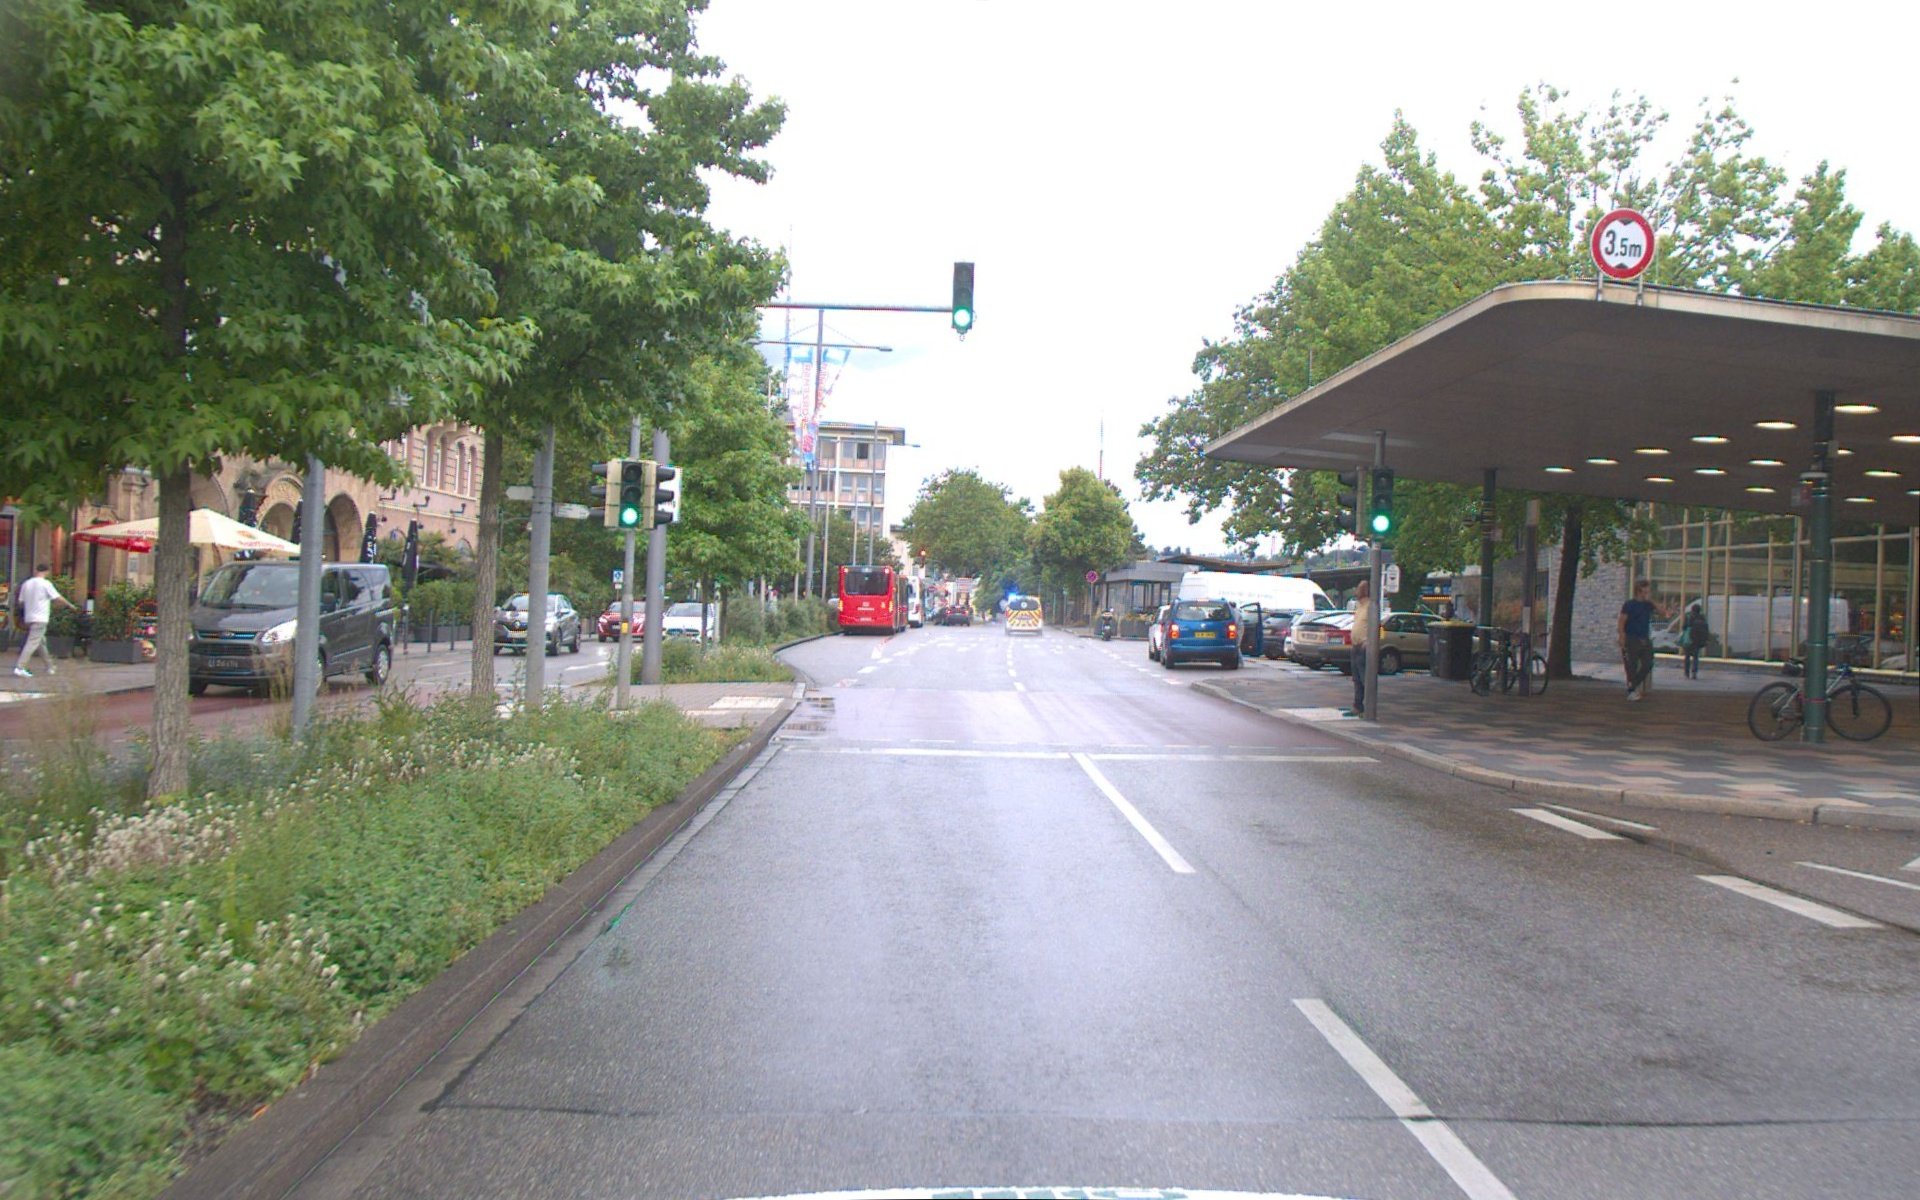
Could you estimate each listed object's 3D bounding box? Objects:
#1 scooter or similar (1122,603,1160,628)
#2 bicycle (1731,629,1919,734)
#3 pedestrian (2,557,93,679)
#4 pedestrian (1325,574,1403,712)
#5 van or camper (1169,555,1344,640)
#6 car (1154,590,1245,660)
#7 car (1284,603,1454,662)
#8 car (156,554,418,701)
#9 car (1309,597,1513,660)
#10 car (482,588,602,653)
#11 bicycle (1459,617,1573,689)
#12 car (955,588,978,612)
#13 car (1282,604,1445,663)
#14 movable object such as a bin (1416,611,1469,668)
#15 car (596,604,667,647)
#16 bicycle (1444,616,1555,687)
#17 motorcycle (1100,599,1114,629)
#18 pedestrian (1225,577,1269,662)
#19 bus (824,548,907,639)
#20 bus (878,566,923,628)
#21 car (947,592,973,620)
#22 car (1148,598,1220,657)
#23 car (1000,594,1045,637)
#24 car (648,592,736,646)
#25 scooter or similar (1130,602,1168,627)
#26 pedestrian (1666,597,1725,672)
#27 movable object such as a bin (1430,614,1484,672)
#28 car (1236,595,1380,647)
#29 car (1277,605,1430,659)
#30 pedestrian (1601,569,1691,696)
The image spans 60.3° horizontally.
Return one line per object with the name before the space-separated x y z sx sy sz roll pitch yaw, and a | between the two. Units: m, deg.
scooter or similar | 8.399 0.691 76.823 2.131 1.129 0.421 -1 0 -40
bicycle | 9.213 0.861 17.615 1.790 1.074 0.420 -1 0 -1
pedestrian | -14.675 0.278 26.609 0.862 1.843 0.750 -6 0 -1
pedestrian | 5.302 0.553 21.727 0.732 1.777 0.834 0 -1 -9
van or camper | 10.279 -0.104 57.253 5.878 2.811 2.178 -1 0 -28
car | 5.721 0.594 39.836 1.820 1.596 4.001 0 -1 3
car | 10.013 0.788 40.447 3.947 1.383 1.845 1 -1 -31
car | -10.314 0.392 25.834 1.952 2.049 5.001 -1 0 1
car | 10.032 0.625 36.783 4.124 1.348 1.829 1 -1 -21
car | -10.855 0.514 43.263 1.953 1.570 4.632 -1 0 0
bicycle | 8.734 0.820 25.975 1.800 1.074 0.418 -1 0 -19
car | 0.528 0.019 142.898 1.953 2.049 3.999 -1 0 0
car | 10.523 0.856 43.122 3.940 1.468 1.848 1 -1 -27
movable object such as a bin | 9.639 0.780 33.035 0.738 1.114 0.746 -1 0 -13
car | -11.606 0.871 58.611 1.711 1.455 3.953 -1 0 0
bicycle | 8.619 0.809 26.421 1.800 1.074 0.418 -1 0 -19
motorcycle | 6.578 0.603 74.080 0.582 1.310 1.954 0 0 5
pedestrian | 6.981 0.469 40.242 0.815 2.049 0.888 -1 0 -5
bus | -4.448 -0.279 80.526 3.473 4.049 11.169 -1 0 -1
bus | -3.884 -0.156 108.107 2.749 3.812 10.440 1 0 -2
car | 0.006 0.466 127.402 1.953 2.049 3.999 -1 0 0
car | 6.162 0.742 45.797 1.750 1.549 3.683 0 -1 4
car | 3.124 0.771 83.345 1.953 2.049 5.060 -1 0 -1
car | -8.187 0.560 50.867 1.953 1.570 4.632 -1 0 0
scooter or similar | 8.739 0.682 76.461 2.131 1.129 0.437 -1 0 -40
pedestrian | 15.973 0.735 35.927 0.849 1.586 0.813 -1 0 -8
movable object such as a bin | 9.586 0.823 31.934 0.737 1.086 0.747 -1 0 -9
car | 10.326 0.627 49.000 3.940 1.468 1.848 1 -1 -27
car | 11.015 0.885 46.275 3.940 1.468 1.848 1 -1 -27
pedestrian | 10.383 0.486 25.080 0.839 1.867 1.190 0 -1 -1
